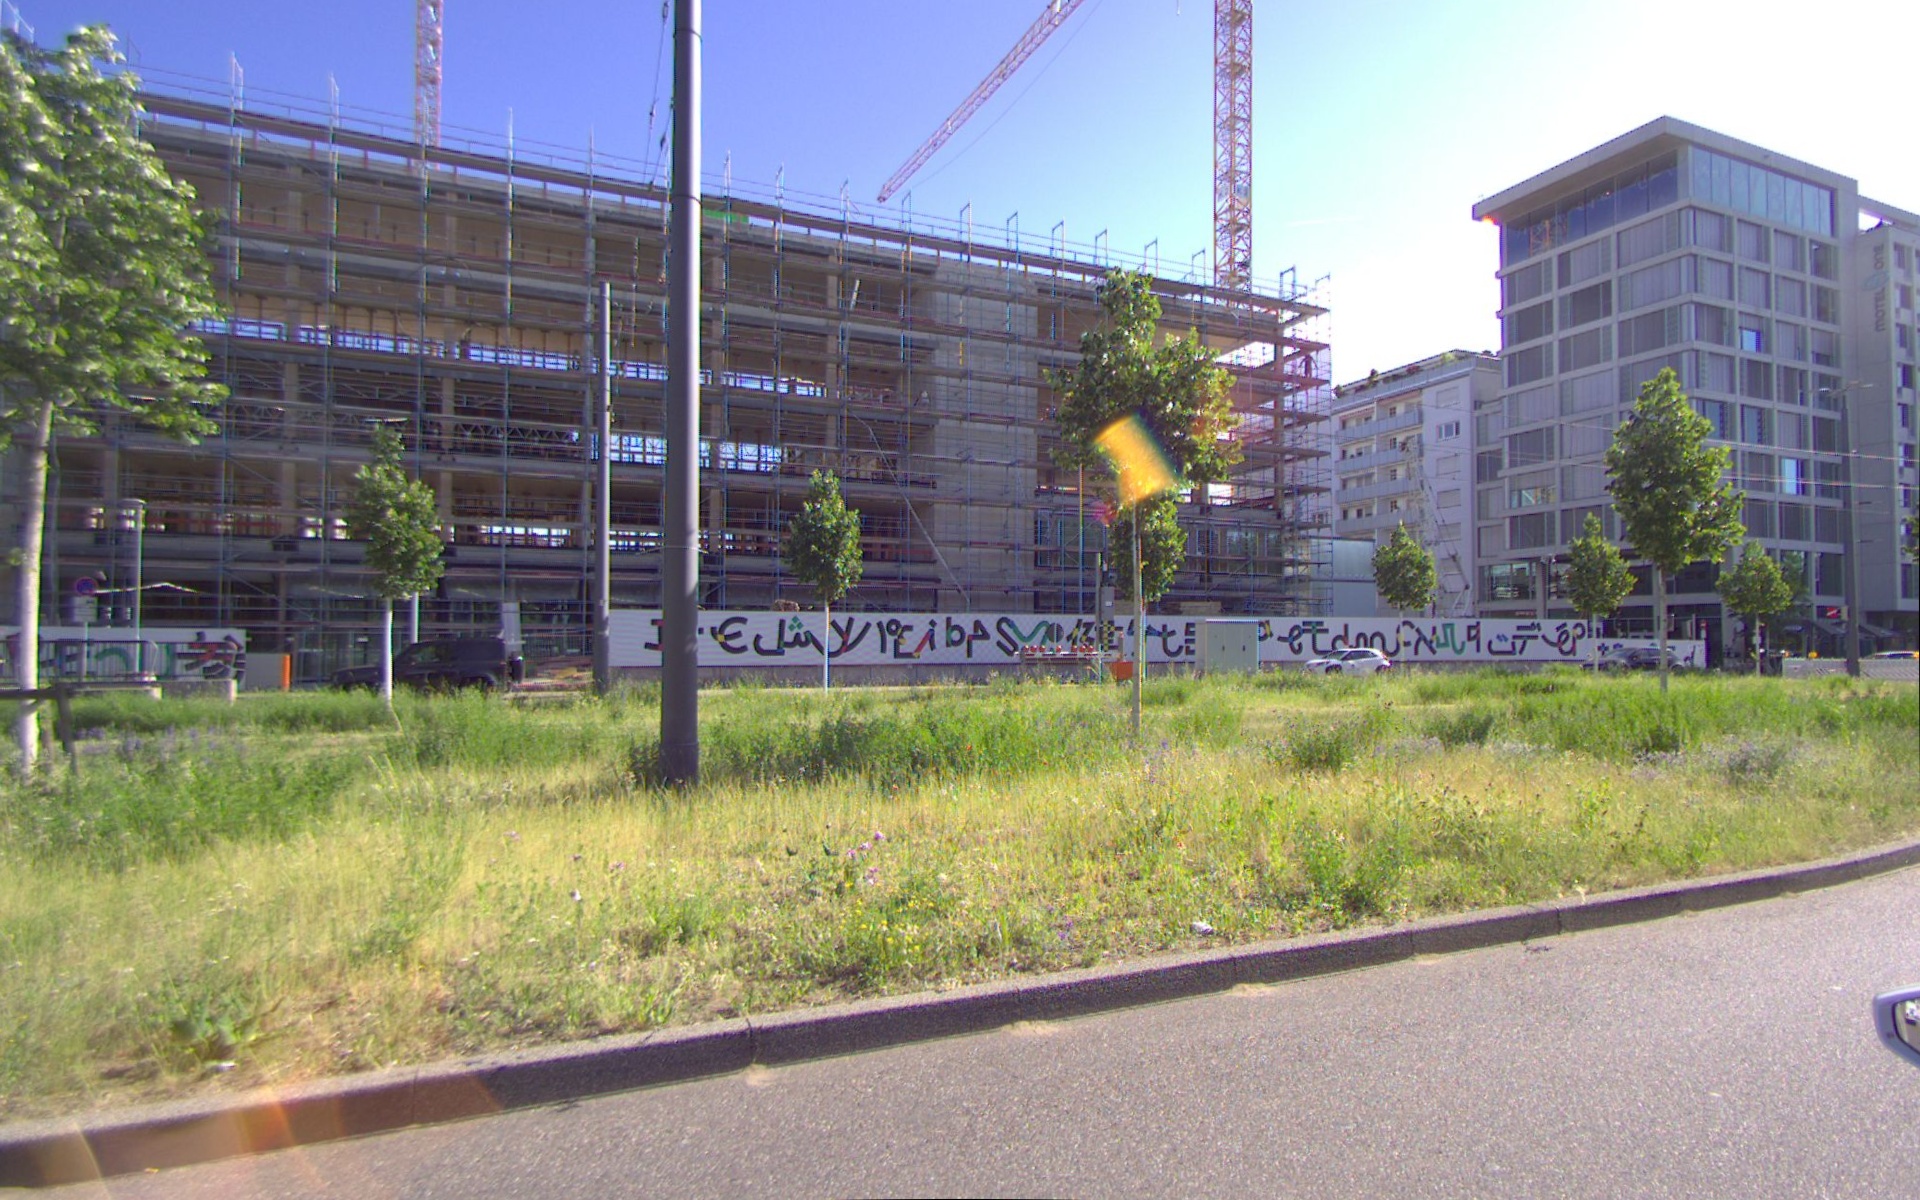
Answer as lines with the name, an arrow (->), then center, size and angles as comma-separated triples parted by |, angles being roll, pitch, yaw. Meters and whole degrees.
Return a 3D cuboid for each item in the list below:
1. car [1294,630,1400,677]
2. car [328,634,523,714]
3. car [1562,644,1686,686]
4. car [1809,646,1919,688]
car -> 16.737, 2.309, 43.461 | 3.919, 1.943, 1.910 | 1, -2, -15
car -> -13.747, 1.880, 26.167 | 4.266, 1.943, 1.905 | 1, -2, -23
car -> 29.971, 2.915, 45.404 | 4.444, 1.816, 1.998 | 1, -2, -8
car -> 40.895, 2.963, 44.631 | 4.435, 1.816, 2.002 | 0, -2, 6
